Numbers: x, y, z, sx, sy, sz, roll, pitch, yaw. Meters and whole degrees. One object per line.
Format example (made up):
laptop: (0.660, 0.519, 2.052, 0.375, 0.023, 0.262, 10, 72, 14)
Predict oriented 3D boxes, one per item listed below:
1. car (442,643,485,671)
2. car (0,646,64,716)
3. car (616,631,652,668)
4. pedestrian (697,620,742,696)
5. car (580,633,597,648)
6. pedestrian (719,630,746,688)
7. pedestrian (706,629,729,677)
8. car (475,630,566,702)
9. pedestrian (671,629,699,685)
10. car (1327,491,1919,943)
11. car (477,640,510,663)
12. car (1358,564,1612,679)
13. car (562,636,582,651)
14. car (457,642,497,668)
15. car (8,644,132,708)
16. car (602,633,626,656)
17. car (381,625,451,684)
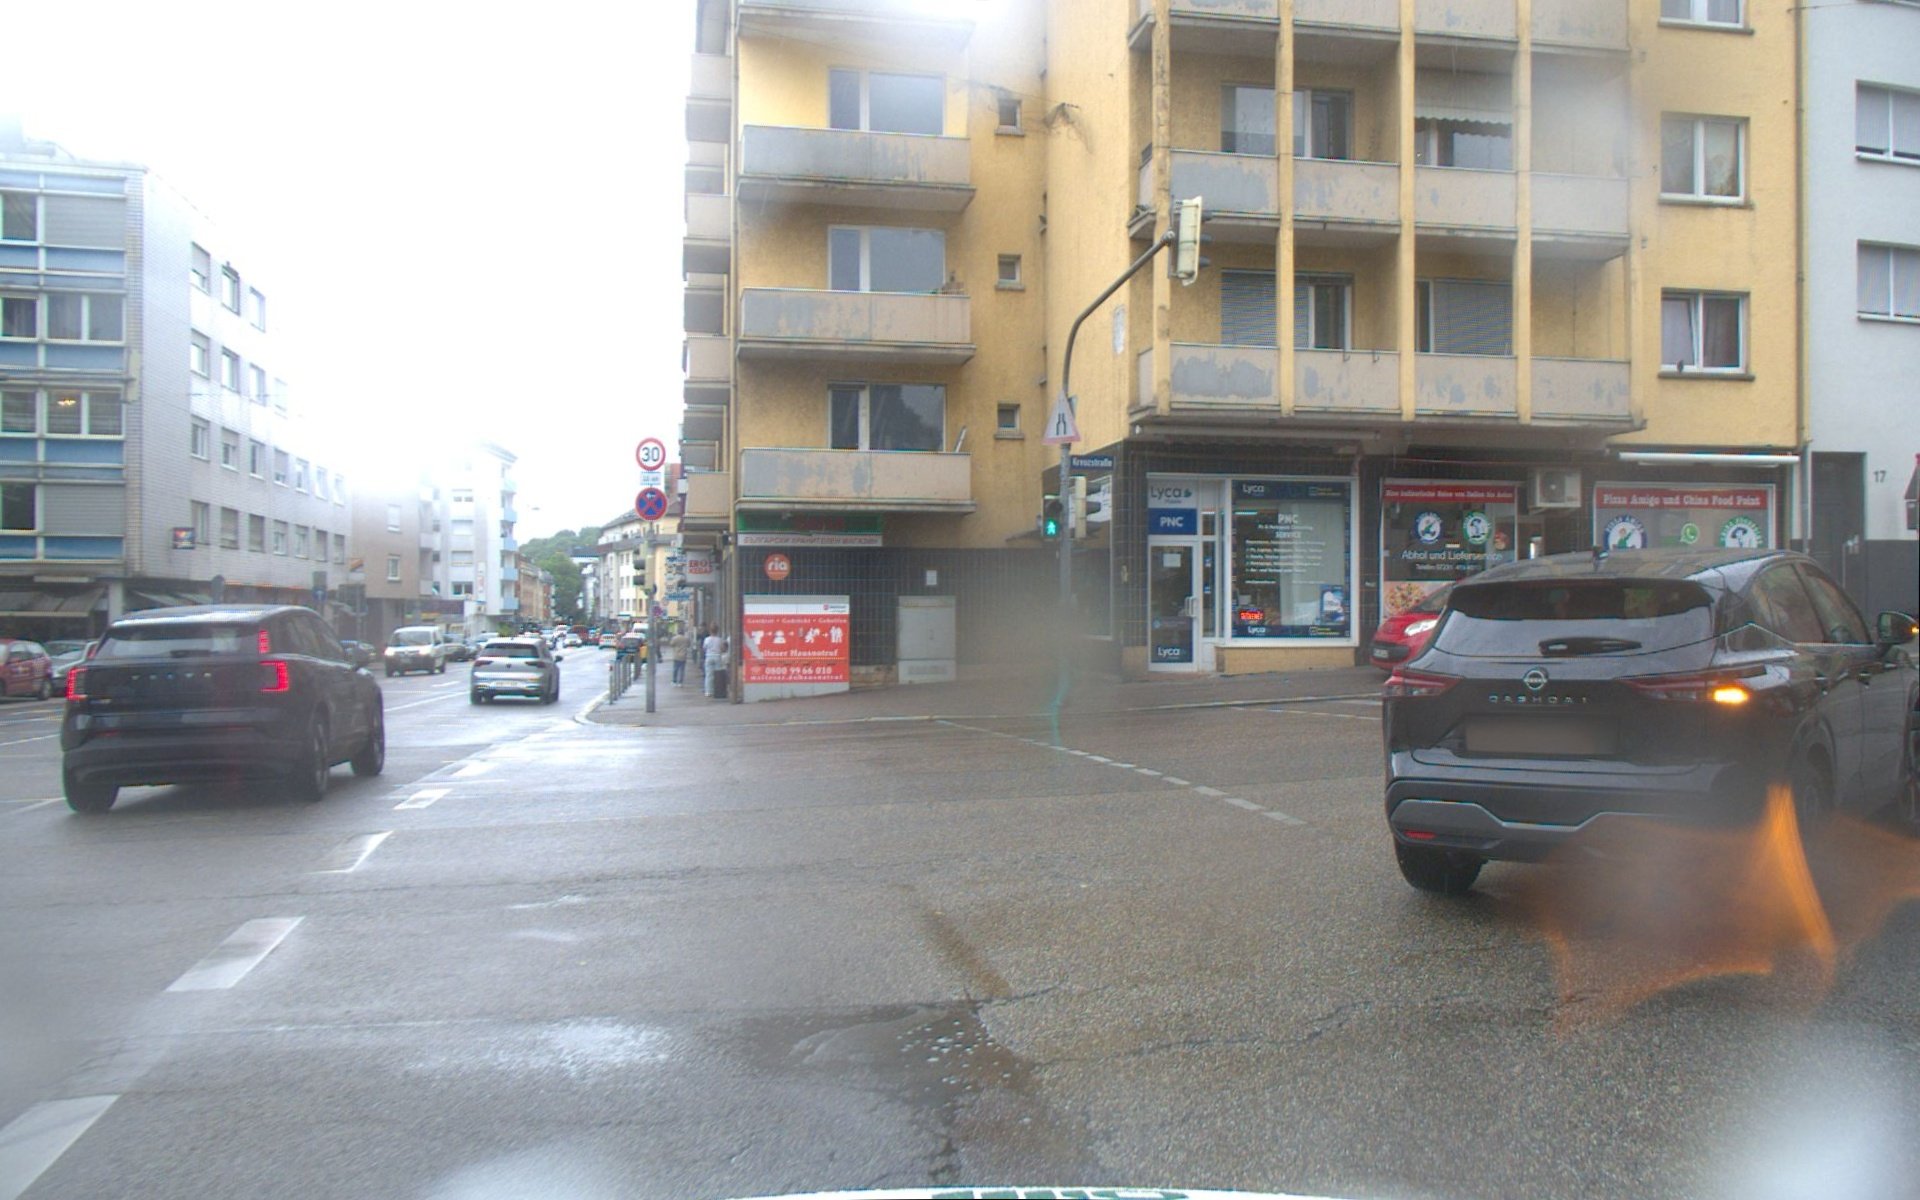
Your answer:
car: (-29.261, 3.333, 97.571, 1.958, 1.478, 3.990, -3, 0, -10)
car: (-22.525, 1.882, 38.798, 1.643, 1.504, 3.597, -1, 0, -12)
car: (-19.357, 2.916, 98.118, 1.959, 2.049, 3.987, -2, 0, -12)
pedestrian: (-5.397, 1.292, 37.046, 0.820, 1.585, 0.830, -6, 0, -12)
car: (-45.216, 4.895, 201.363, 1.958, 1.666, 4.817, -2, 0, -11)
pedestrian: (-5.149, 1.326, 37.435, 0.455, 1.254, 0.553, -6, 0, -10)
pedestrian: (-8.130, 1.769, 55.358, 0.614, 1.585, 0.706, 0, -1, 4)
car: (-10.021, 1.469, 37.910, 1.736, 1.469, 3.988, -1, 0, -12)
pedestrian: (-7.838, 1.614, 47.198, 0.689, 1.585, 0.629, 0, -1, -1)
car: (3.611, 0.422, 8.329, 1.927, 1.681, 3.984, -3, 0, 37)
car: (-33.277, 3.691, 118.047, 1.959, 1.478, 3.987, -3, 0, -12)
car: (8.006, 0.299, 25.312, 3.410, 1.584, 1.468, -2, 1, -12)
car: (-41.487, 4.653, 176.925, 1.958, 1.512, 3.989, -2, 0, -11)
car: (-30.244, 3.440, 103.567, 1.958, 1.478, 3.989, -3, 0, -11)
car: (-23.378, 1.966, 43.573, 1.747, 1.504, 3.783, -1, 0, -10)
car: (-32.524, 4.142, 155.702, 1.957, 2.049, 3.992, -2, 0, -9)
car: (-20.626, 2.033, 62.841, 1.876, 2.049, 3.990, -2, 0, -10)
